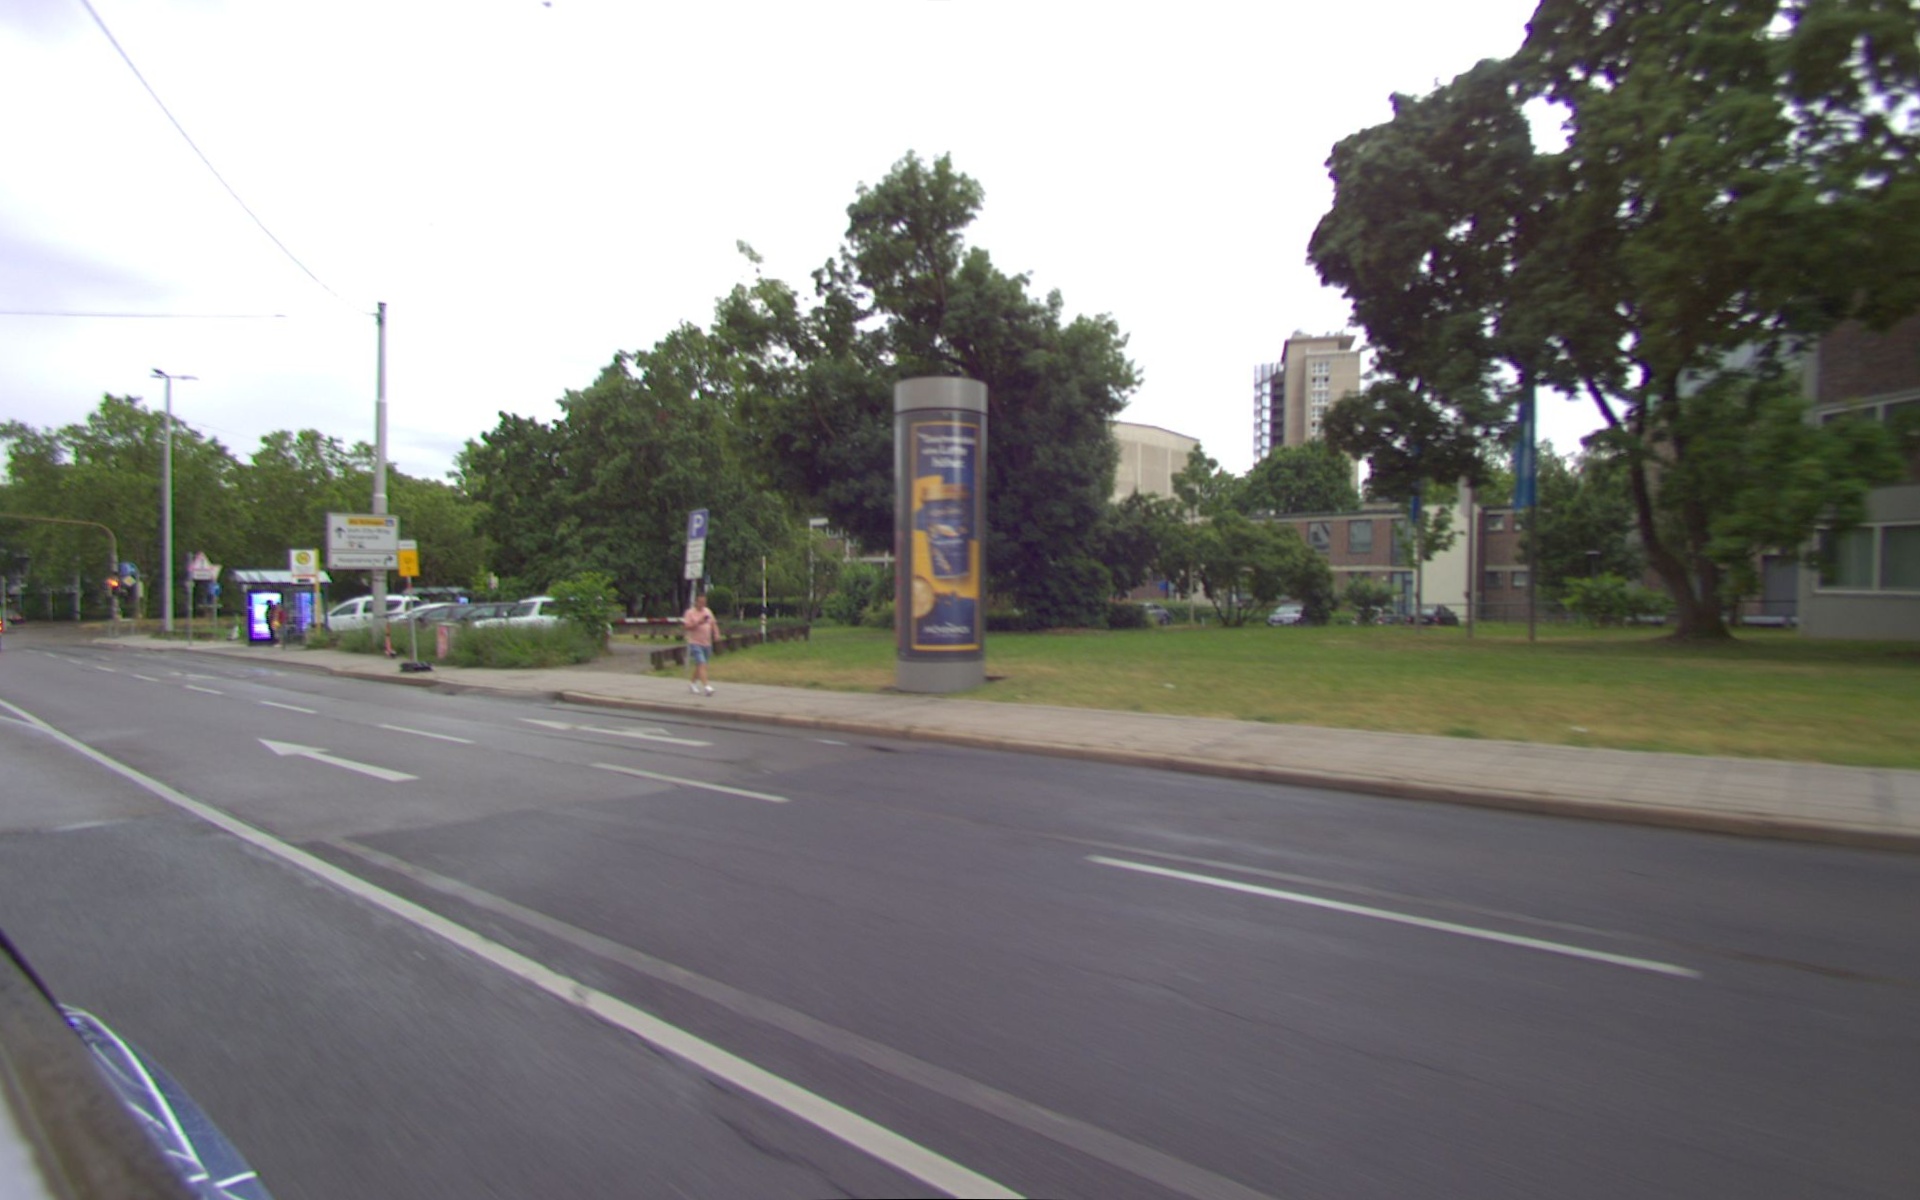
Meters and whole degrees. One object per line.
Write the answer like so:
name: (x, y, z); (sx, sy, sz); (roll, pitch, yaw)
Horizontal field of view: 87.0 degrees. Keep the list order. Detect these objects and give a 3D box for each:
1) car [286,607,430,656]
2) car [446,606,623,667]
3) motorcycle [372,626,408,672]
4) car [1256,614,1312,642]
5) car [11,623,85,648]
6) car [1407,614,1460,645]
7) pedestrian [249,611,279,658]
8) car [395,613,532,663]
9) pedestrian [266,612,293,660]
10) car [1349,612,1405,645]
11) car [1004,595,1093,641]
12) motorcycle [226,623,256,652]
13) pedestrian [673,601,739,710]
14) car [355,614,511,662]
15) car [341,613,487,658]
car: (-24.718, 1.275, 41.675); (4.650, 1.768, 2.019); (-2, 1, -7)
car: (-12.522, 1.059, 29.909); (4.473, 1.621, 1.864); (-1, 1, 8)
motorcycle: (-16.183, 1.376, 28.731); (1.267, 1.256, 0.509); (-1, 1, 43)
car: (18.252, 1.556, 56.916); (1.781, 1.385, 3.885); (-1, 1, 38)
car: (-73.883, 2.854, 82.068); (4.276, 1.925, 2.082); (0, -1, -37)
car: (24.326, 1.496, 51.926); (1.653, 1.360, 3.801); (-1, 1, 38)
pedestrian: (-25.894, 1.283, 37.634); (0.670, 1.708, 0.678); (-1, 1, 34)
car: (-15.783, 1.188, 32.360); (3.539, 1.359, 1.847); (-2, 1, -10)
pedestrian: (-25.064, 1.321, 37.273); (0.641, 1.708, 0.622); (-1, 1, 34)
car: (22.229, 1.476, 53.868); (1.796, 1.530, 3.949); (-1, 1, 38)
car: (6.042, 1.166, 68.636); (2.741, 2.782, 6.123); (0, 1, 45)
motorcycle: (-31.734, 1.656, 44.667); (1.261, 1.256, 0.511); (-1, 1, 28)
pedestrian: (-4.150, 0.873, 16.504); (0.662, 1.699, 0.914); (-2, 1, -41)
car: (-17.663, 1.232, 34.192); (4.504, 1.359, 1.911); (-2, 1, -24)
car: (-19.415, 1.235, 36.184); (4.305, 1.359, 1.911); (-2, 1, -19)
